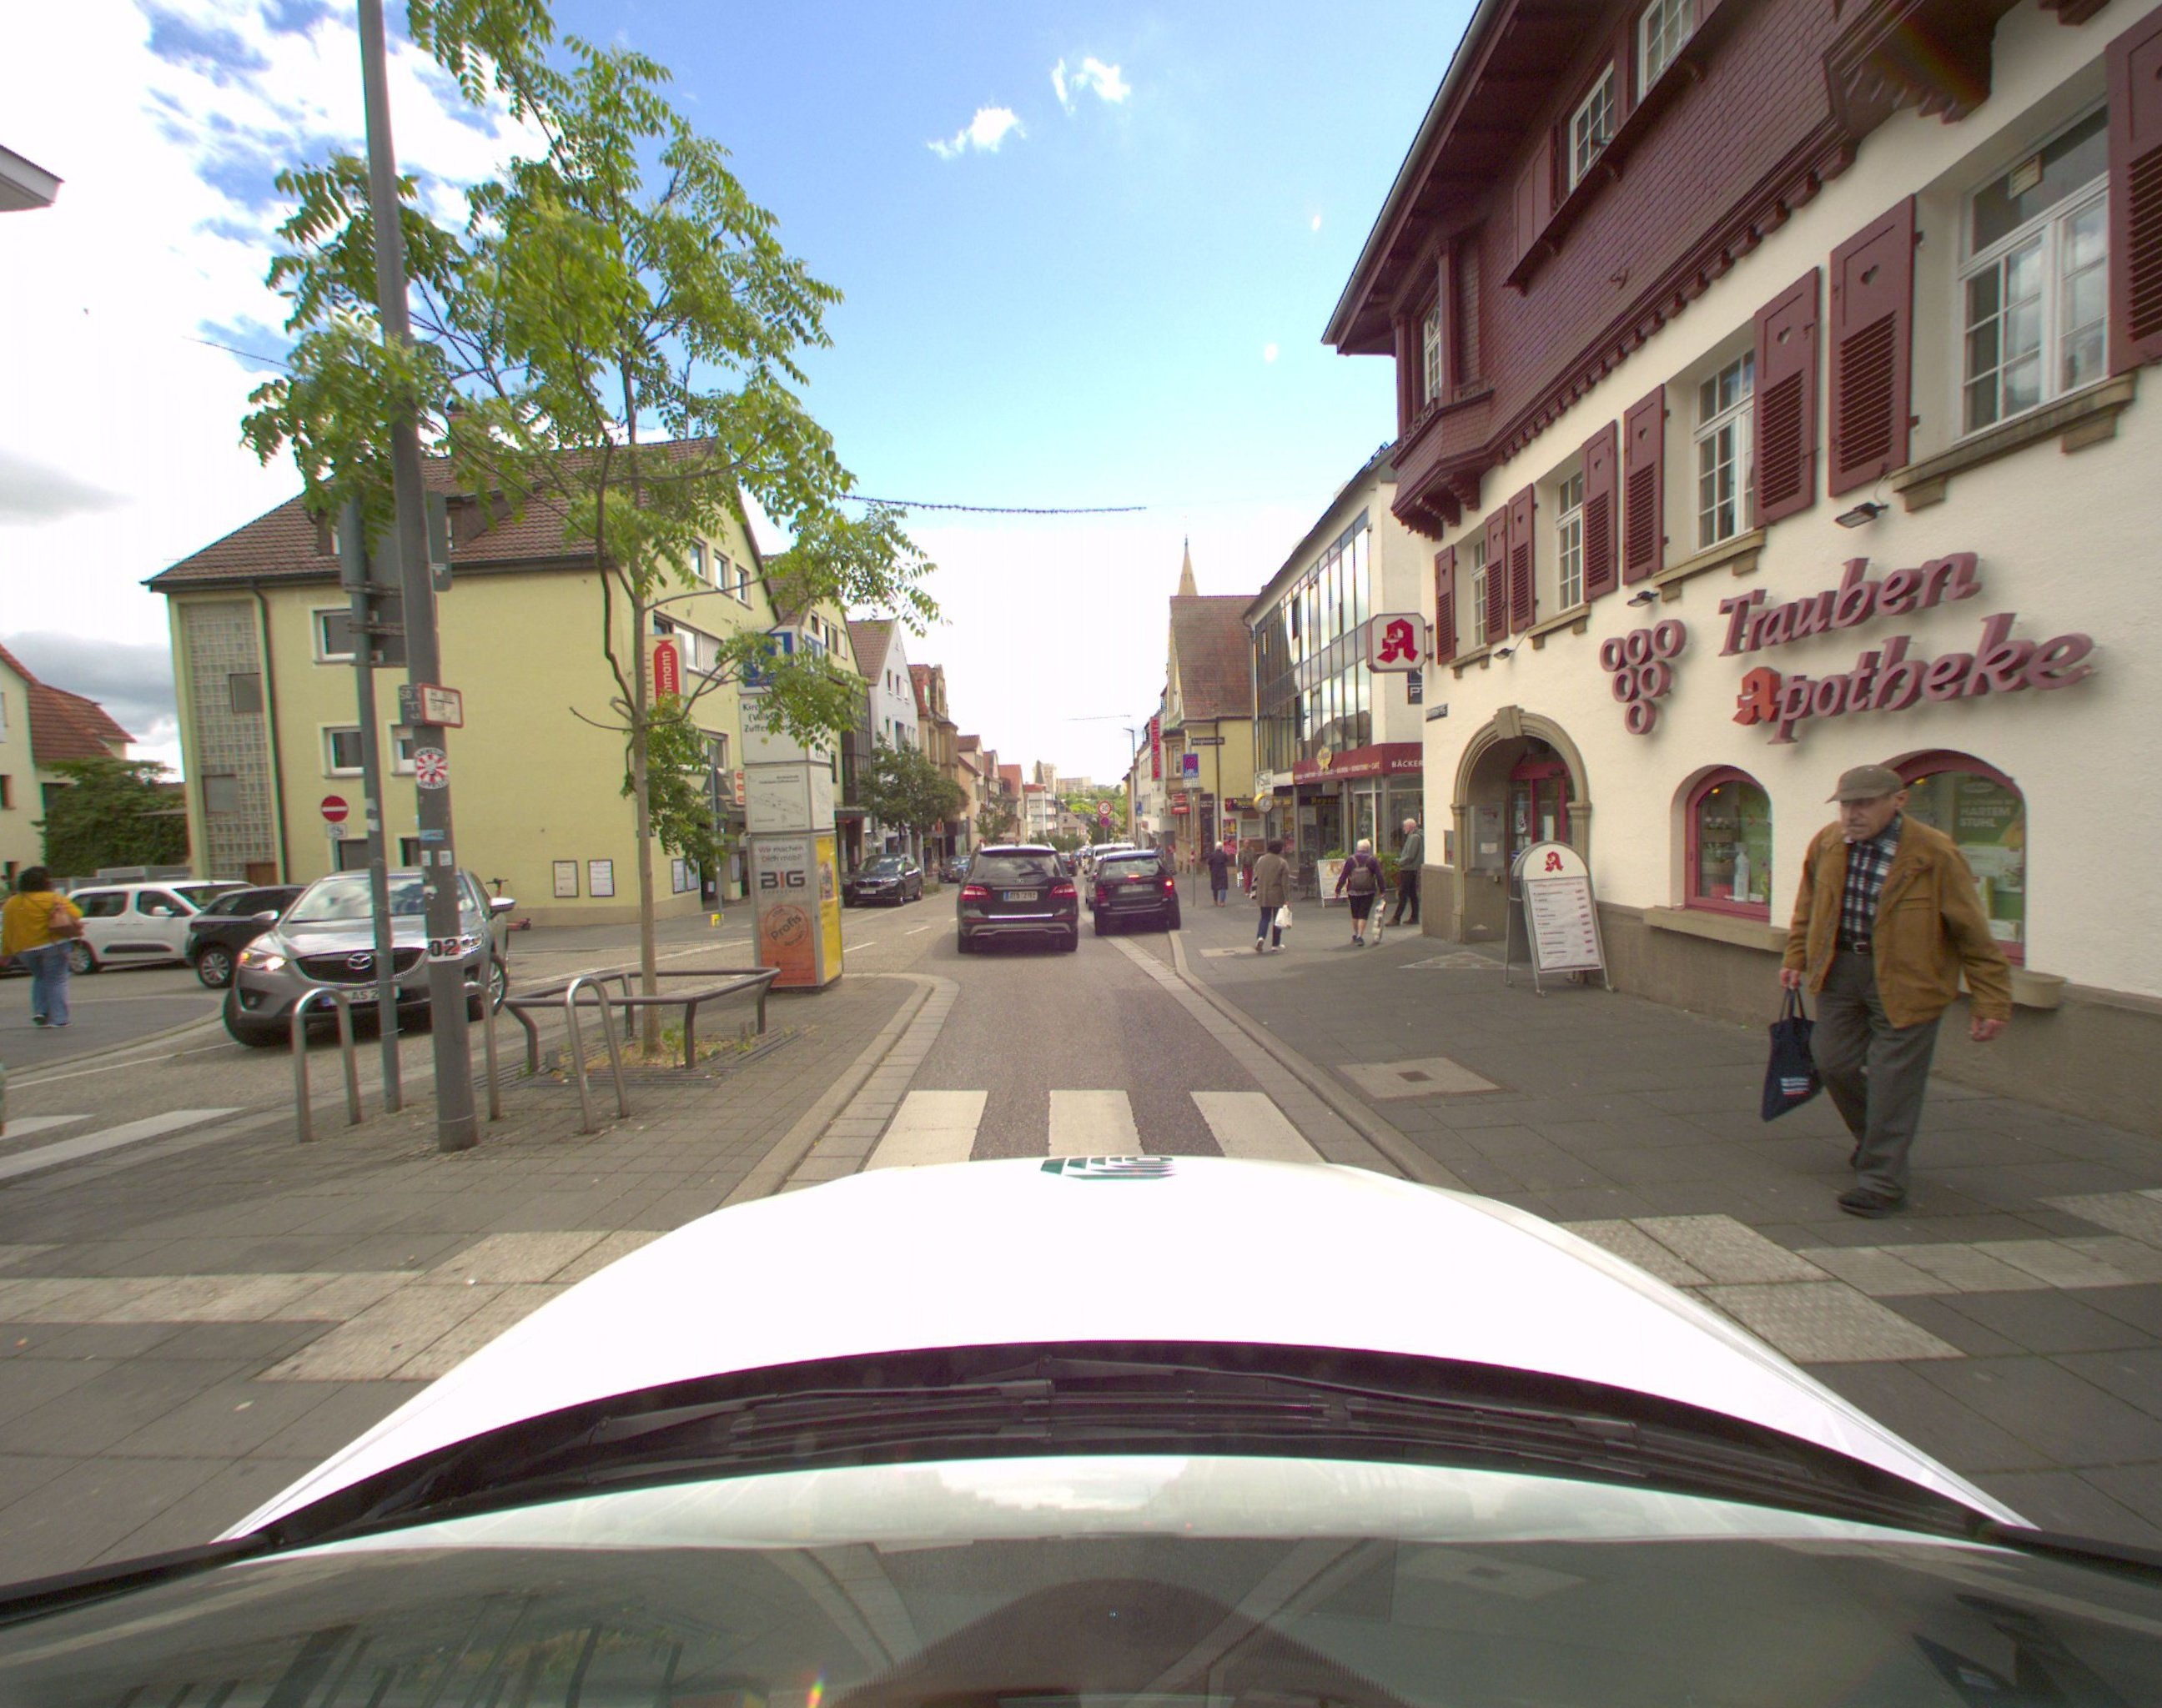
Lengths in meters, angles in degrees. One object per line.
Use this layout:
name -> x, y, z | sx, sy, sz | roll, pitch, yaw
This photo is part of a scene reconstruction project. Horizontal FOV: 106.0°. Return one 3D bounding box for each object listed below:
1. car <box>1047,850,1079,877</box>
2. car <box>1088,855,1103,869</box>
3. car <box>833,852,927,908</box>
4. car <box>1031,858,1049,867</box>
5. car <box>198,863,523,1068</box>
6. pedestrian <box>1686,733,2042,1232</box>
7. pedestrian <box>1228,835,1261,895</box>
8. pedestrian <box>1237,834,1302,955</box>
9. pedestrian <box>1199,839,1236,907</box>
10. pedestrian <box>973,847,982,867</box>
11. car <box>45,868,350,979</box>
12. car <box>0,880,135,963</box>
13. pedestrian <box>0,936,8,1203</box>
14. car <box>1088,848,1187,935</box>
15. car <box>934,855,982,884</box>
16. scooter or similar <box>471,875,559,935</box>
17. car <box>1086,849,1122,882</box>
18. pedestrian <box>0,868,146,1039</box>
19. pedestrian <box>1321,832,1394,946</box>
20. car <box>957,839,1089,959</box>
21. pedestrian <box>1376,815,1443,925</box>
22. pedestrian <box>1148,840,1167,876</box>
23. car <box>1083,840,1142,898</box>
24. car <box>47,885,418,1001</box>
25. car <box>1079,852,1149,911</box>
car -> -1.064, 0.572, 50.127 | 1.779, 1.540, 3.745 | -2, 0, 1
car -> 1.999, 1.089, 112.232 | 1.932, 1.891, 4.706 | -4, 0, 0
car -> -6.679, 0.816, 27.635 | 2.000, 1.693, 4.607 | 0, 1, 0
car -> -9.140, 1.850, 181.340 | 3.979, 1.750, 1.997 | -4, -1, -4
car -> -7.592, 0.976, 9.115 | 1.977, 1.621, 4.311 | -2, 0, -32
pedestrian -> 3.197, 0.454, 3.397 | 0.674, 1.801, 0.785 | -2, 0, -12
pedestrian -> 4.852, 0.320, 24.234 | 0.859, 1.707, 0.946 | -2, 0, 7
pedestrian -> 2.691, 0.565, 11.688 | 0.768, 1.645, 0.871 | -2, 0, 7
pedestrian -> 3.468, 0.473, 20.740 | 0.819, 1.666, 0.803 | -2, 0, 6
pedestrian -> -7.753, 0.235, 60.851 | 0.488, 1.463, 0.560 | 0, -1, 9
car -> -18.636, 1.418, 17.323 | 4.318, 1.805, 2.004 | -4, 2, 5
car -> -23.887, 1.505, 17.987 | 4.315, 1.629, 1.741 | -2, 0, 7
pedestrian -> -5.713, 0.780, 3.529 | 0.909, 1.787, 0.992 | -2, 0, 17
car -> 1.099, 0.708, 17.237 | 1.797, 1.555, 3.955 | -2, 0, 1
car -> -6.700, 0.803, 44.910 | 1.920, 1.492, 4.841 | 0, 0, 0
scooter or similar -> -13.612, 1.218, 19.595 | 1.585, 1.280, 0.590 | -3, 4, 1
car -> 1.244, 0.578, 44.187 | 1.742, 1.608, 3.801 | -3, 0, 1
pedestrian -> -11.075, 1.044, 8.910 | 0.635, 1.738, 0.835 | -3, 0, -2
pedestrian -> 3.948, 0.490, 11.682 | 0.720, 1.531, 0.809 | -5, -1, 7
car -> -1.172, 0.664, 14.178 | 1.943, 1.740, 4.165 | -1, 0, -9
pedestrian -> 5.493, 0.264, 13.657 | 0.771, 1.769, 0.818 | -2, 0, 2
pedestrian -> 3.743, 0.205, 39.999 | 0.793, 1.727, 1.053 | -2, -1, 1
car -> 1.200, 0.483, 28.629 | 1.868, 1.799, 4.737 | -2, 0, 4
car -> -13.914, 1.420, 13.516 | 4.336, 1.569, 1.918 | -3, 0, 5
car -> 0.865, 0.731, 23.345 | 1.698, 1.467, 3.997 | -2, 0, -2
